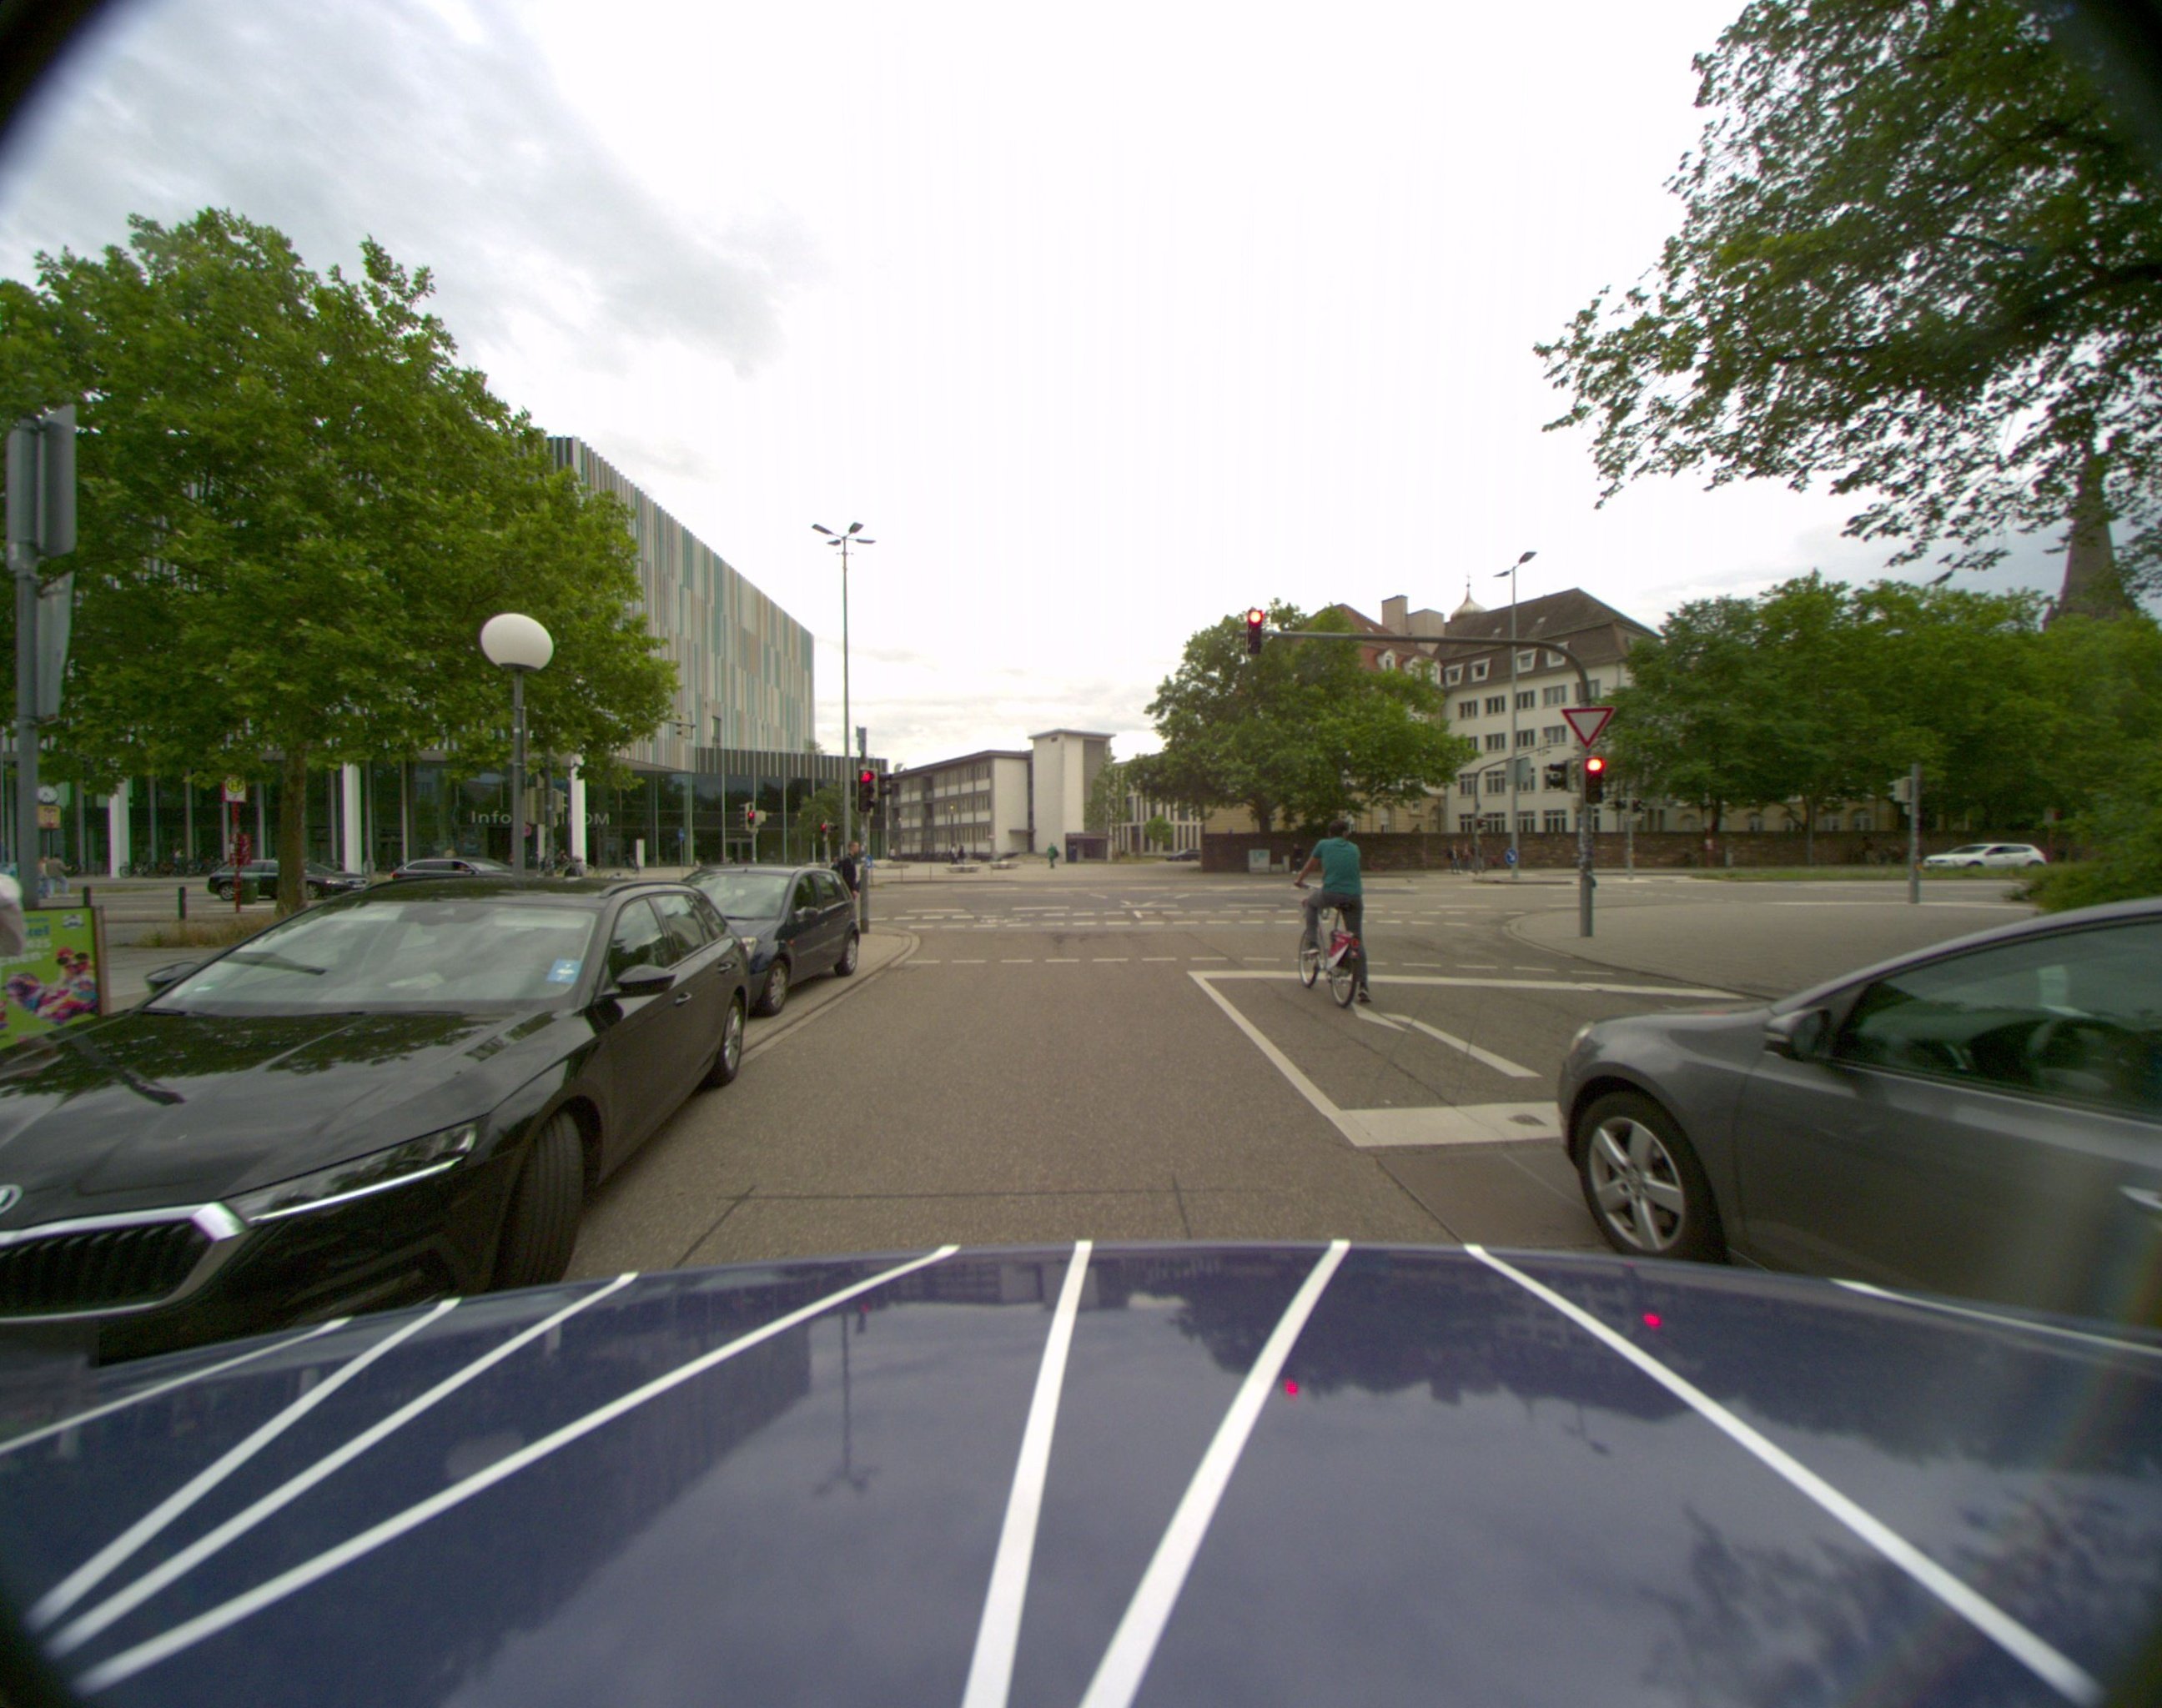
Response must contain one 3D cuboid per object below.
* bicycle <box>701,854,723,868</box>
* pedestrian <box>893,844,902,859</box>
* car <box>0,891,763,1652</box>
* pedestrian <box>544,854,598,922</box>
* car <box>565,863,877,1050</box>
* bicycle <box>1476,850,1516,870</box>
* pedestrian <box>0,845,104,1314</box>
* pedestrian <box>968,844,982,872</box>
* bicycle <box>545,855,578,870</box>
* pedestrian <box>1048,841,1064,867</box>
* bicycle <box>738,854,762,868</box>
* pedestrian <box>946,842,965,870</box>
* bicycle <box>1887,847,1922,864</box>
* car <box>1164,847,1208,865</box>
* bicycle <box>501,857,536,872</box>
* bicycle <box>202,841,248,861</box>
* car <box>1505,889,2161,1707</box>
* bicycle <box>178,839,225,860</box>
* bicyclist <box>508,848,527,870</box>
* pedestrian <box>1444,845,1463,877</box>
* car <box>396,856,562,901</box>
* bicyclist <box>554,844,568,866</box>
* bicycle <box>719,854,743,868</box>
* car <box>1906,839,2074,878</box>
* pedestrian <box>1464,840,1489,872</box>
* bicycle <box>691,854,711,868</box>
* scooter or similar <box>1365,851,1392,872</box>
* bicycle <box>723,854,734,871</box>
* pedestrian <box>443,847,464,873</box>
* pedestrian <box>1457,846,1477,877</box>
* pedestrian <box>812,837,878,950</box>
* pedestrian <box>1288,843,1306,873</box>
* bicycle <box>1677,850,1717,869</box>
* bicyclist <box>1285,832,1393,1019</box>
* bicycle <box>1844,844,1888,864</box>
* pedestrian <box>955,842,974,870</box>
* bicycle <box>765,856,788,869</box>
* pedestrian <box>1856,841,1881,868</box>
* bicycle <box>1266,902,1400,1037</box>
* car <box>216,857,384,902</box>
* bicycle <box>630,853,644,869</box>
[{"bbox_3d":[-26.161,0.488,53.852,2.004,0.931,0.550,1,2,39],"label":"bicycle"},{"bbox_3d":[-22.032,-0.263,91.306,0.777,1.779,0.759,-1,1,-35],"label":"pedestrian"},{"bbox_3d":[-3.028,1.006,3.763,1.867,1.393,4.473,1,0,-12],"label":"car"},{"bbox_3d":[-12.517,0.816,18.654,0.756,1.617,0.794,1,1,13],"label":"pedestrian"},{"bbox_3d":[-3.723,0.934,8.744,1.626,1.493,4.104,2,1,0],"label":"car"},{"bbox_3d":[24.821,0.341,45.469,2.156,1.178,0.582,0,3,-9],"label":"bicycle"},{"bbox_3d":[-4.520,0.859,2.798,0.792,1.777,0.822,0,1,11],"label":"pedestrian"},{"bbox_3d":[-6.573,0.245,47.088,0.619,1.656,0.623,-2,1,-44],"label":"pedestrian"},{"bbox_3d":[-34.191,0.556,50.041,0.483,0.920,1.918,0,1,17],"label":"bicycle"},{"bbox_3d":[-1.720,-0.021,51.495,0.906,1.705,0.950,-1,2,-15],"label":"pedestrian"},{"bbox_3d":[-24.103,0.491,55.278,2.004,0.931,0.485,1,2,31],"label":"bicycle"},{"bbox_3d":[-8.090,0.101,48.823,0.848,1.778,0.892,-1,1,-43],"label":"pedestrian"},{"bbox_3d":[54.453,0.088,50.231,2.249,1.142,0.507,0,3,-14],"label":"bicycle"},{"bbox_3d":[11.410,0.225,82.612,4.410,1.570,1.998,-2,-9,-34],"label":"car"},{"bbox_3d":[-35.790,0.678,48.370,1.913,0.920,0.619,0,1,8],"label":"bicycle"},{"bbox_3d":[-55.094,-0.181,48.930,0.628,1.251,2.104,-1,-2,-2],"label":"bicycle"},{"bbox_3d":[2.754,0.915,1.192,1.787,1.488,4.167,0,1,-1],"label":"car"},{"bbox_3d":[-56.195,-0.265,48.569,0.628,1.251,2.104,-1,-2,-2],"label":"bicycle"},{"bbox_3d":[-35.906,0.331,48.386,0.717,1.374,0.619,0,1,8],"label":"bicyclist"},{"bbox_3d":[20.889,0.389,42.639,0.670,1.729,0.735,0,2,-3],"label":"pedestrian"},{"bbox_3d":[-21.481,0.837,27.260,4.289,1.481,1.999,-1,1,-1],"label":"car"},{"bbox_3d":[-34.217,0.044,50.000,0.483,1.460,0.606,0,1,17],"label":"bicyclist"},{"bbox_3d":[-25.037,0.482,54.302,2.004,0.931,0.485,1,2,31],"label":"bicycle"},{"bbox_3d":[43.760,0.257,36.692,5.368,1.687,2.049,-2,-2,3],"label":"car"},{"bbox_3d":[22.748,0.113,43.679,1.006,1.779,0.757,0,2,-2],"label":"pedestrian"},{"bbox_3d":[-26.677,0.483,53.319,2.004,0.931,0.485,1,2,39],"label":"bicycle"},{"bbox_3d":[17.632,0.444,45.063,1.410,1.223,0.495,1,3,18],"label":"scooter or similar"},{"bbox_3d":[-22.032,0.519,47.524,0.484,1.039,1.779,-1,2,-29],"label":"bicycle"},{"bbox_3d":[-43.182,0.427,52.296,0.762,1.778,0.802,0,1,0],"label":"pedestrian"},{"bbox_3d":[21.636,0.396,42.590,0.642,1.684,0.779,0,2,-4],"label":"pedestrian"},{"bbox_3d":[-4.204,0.676,13.564,0.791,1.941,0.759,0,1,25],"label":"pedestrian"},{"bbox_3d":[12.373,0.231,43.566,0.808,1.655,0.791,0,2,1],"label":"pedestrian"},{"bbox_3d":[38.218,0.353,47.159,2.156,1.142,0.664,0,3,-11],"label":"bicycle"},{"bbox_3d":[2.585,0.676,7.713,0.659,1.769,0.983,0,1,-8],"label":"bicyclist"},{"bbox_3d":[50.809,-0.012,49.200,2.543,1.258,0.664,0,3,-11],"label":"bicycle"},{"bbox_3d":[-7.551,0.102,49.301,0.848,1.778,0.892,-1,1,-44],"label":"pedestrian"},{"bbox_3d":[-22.848,0.602,56.990,2.004,0.931,0.485,1,2,31],"label":"bicycle"},{"bbox_3d":[50.346,0.024,48.574,0.773,1.750,0.790,0,2,-13],"label":"pedestrian"},{"bbox_3d":[2.415,1.060,7.526,0.659,1.031,1.857,0,1,-2],"label":"bicycle"},{"bbox_3d":[-28.217,0.892,27.560,3.996,1.445,1.999,-1,2,1],"label":"car"},{"bbox_3d":[-29.871,0.450,51.120,0.485,1.039,1.911,-1,2,-40],"label":"bicycle"}]
